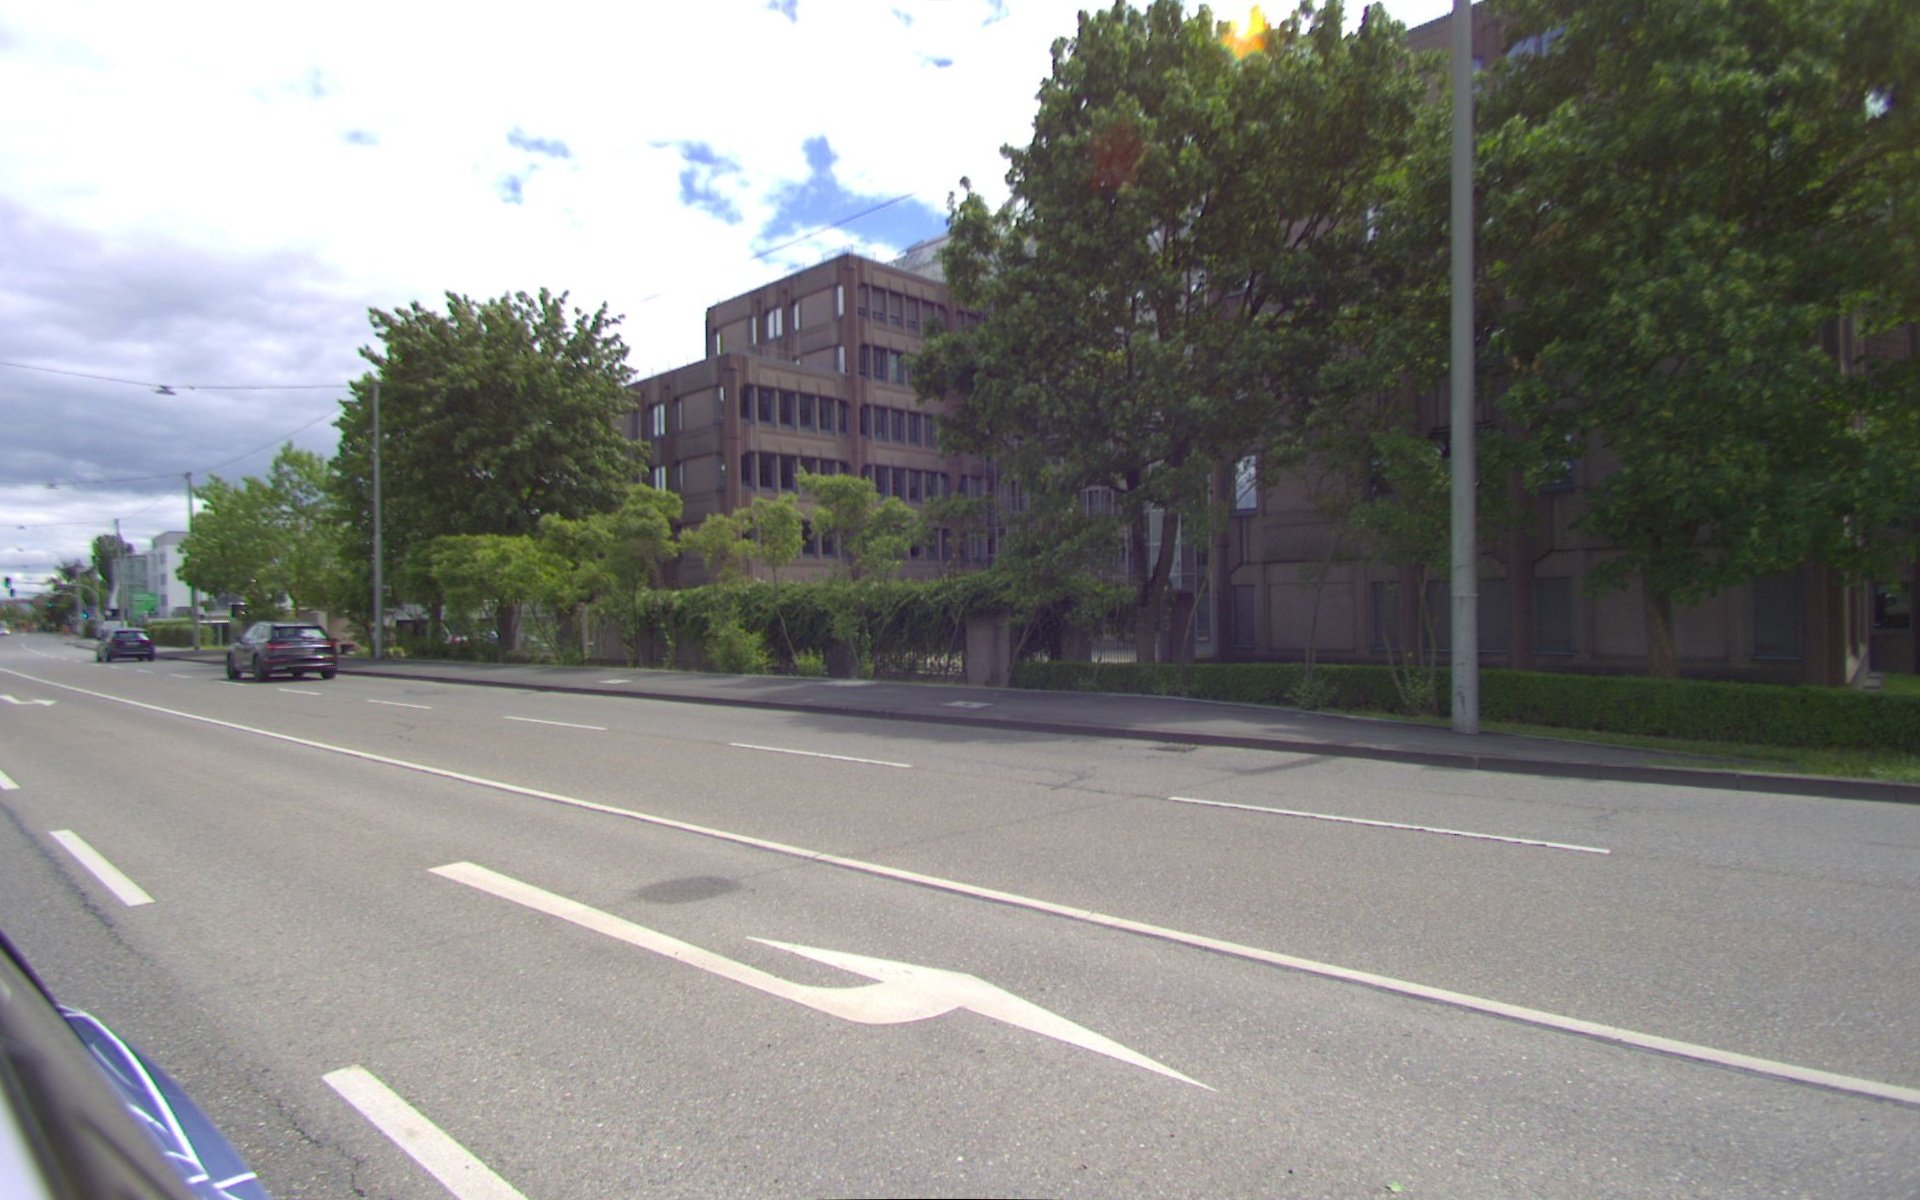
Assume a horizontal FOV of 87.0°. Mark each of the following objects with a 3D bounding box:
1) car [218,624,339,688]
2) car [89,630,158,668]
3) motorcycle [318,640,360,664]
[{"bbox_3d":[-19.418,1.513,28.756,4.571,1.627,1.847,-1,-1,43],"label":"car"},{"bbox_3d":[-38.769,2.223,46.875,4.311,1.597,1.778,-1,0,41],"label":"car"},{"bbox_3d":[-35.166,2.929,57.302,0.745,1.254,1.880,-1,-1,41],"label":"motorcycle"}]
